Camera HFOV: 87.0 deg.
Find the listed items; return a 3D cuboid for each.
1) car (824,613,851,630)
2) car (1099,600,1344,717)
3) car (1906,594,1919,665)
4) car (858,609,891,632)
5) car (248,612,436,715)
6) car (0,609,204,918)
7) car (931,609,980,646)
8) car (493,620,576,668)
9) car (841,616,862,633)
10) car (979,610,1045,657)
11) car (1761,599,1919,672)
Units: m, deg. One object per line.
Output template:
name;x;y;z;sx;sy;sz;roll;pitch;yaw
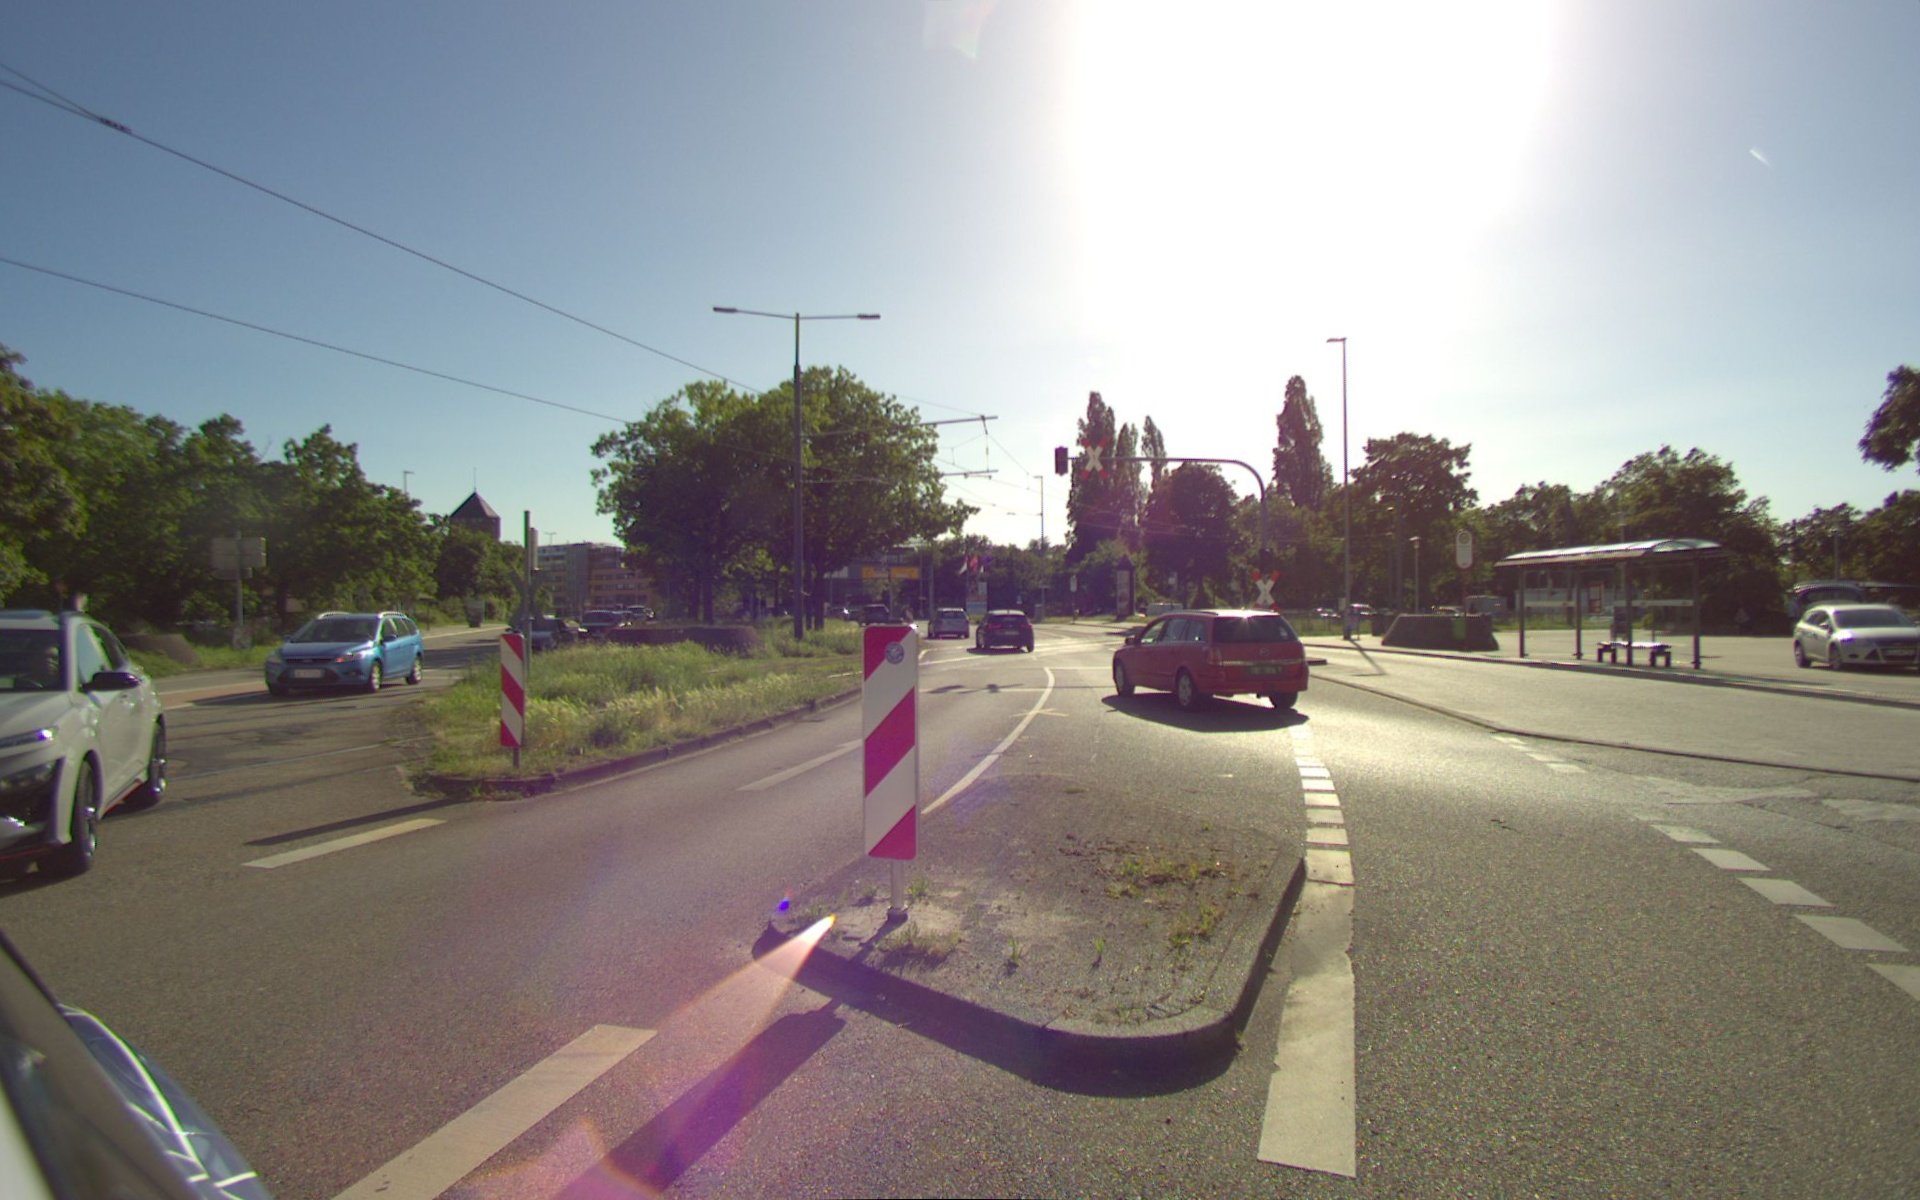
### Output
car;-12.767;2.259;105.197;1.966;1.675;4.498;0;-1;-17
car;3.908;0.829;16.066;1.967;1.564;4.495;-1;-1;-11
car;22.255;0.635;20.979;1.778;1.592;3.992;-1;-1;6
car;-6.758;1.606;79.531;1.967;1.675;4.496;0;-1;-13
car;-12.069;1.151;20.125;1.843;1.789;4.496;0;-1;-13
car;-6.622;0.876;6.767;1.873;1.564;4.499;0;-1;-28
car;-0.277;1.324;49.834;1.969;1.675;4.491;-1;-1;-6
car;-14.324;1.444;34.320;1.843;1.467;4.496;0;-1;-13
car;-13.350;2.970;124.059;1.966;2.029;4.011;0;-1;-14
car;1.846;1.189;37.160;1.971;1.564;4.487;-1;-1;-3
car;19.989;0.745;22.622;1.664;1.519;3.587;-1;-1;8
